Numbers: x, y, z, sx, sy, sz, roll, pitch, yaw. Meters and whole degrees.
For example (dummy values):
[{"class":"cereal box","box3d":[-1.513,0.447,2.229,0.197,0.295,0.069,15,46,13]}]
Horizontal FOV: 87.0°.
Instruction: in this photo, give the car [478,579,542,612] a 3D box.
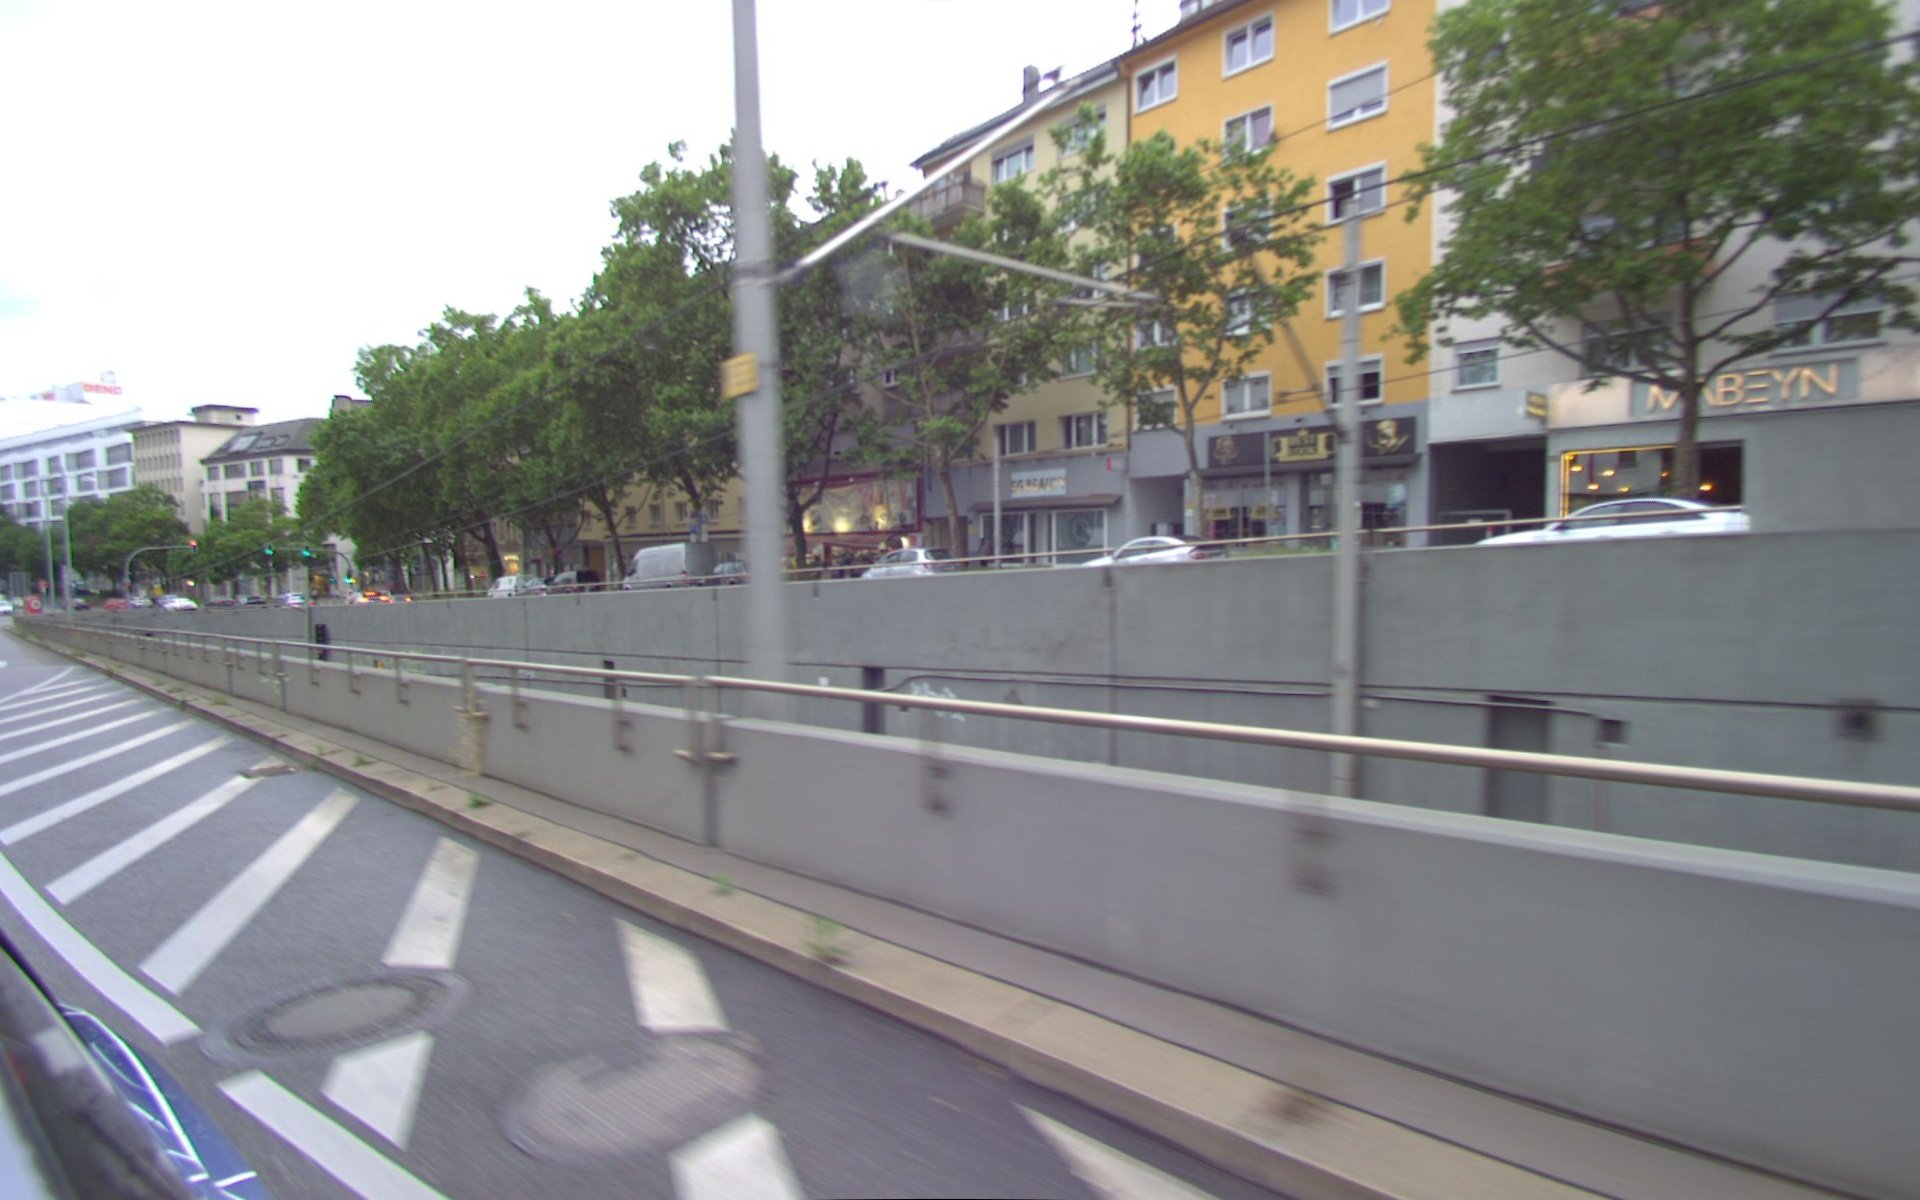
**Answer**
[{"class":"car","box3d":[-28.434,-0.267,63.871,4.901,1.777,1.857,-2,3,43]}]

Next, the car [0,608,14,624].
[{"class":"car","box3d":[-108.335,1.824,113.848,3.988,1.756,1.781,-1,4,33]}]

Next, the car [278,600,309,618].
[{"class":"car","box3d":[-62.851,0.850,95.412,1.773,1.591,4.021,-6,3,-43]}]

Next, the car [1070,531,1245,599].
[{"class":"car","box3d":[5.105,-0.887,26.523,1.773,1.521,4.212,-6,3,-42]}]

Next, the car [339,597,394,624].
[{"class":"car","box3d":[-37.793,0.672,64.389,2.003,1.521,4.888,-6,3,-42]}]

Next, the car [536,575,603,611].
[{"class":"car","box3d":[-21.765,-0.384,56.322,4.208,1.741,1.774,-2,3,45]}]

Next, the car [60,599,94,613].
[{"class":"car","box3d":[-106.767,0.750,122.382,4.821,1.569,1.781,-1,3,33]}]

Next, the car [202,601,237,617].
[{"class":"car","box3d":[-78.742,0.966,107.656,3.992,1.521,1.779,-1,4,36]}]

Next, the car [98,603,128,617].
[{"class":"car","box3d":[-95.555,1.116,114.132,3.871,1.411,1.572,-1,3,34]}]

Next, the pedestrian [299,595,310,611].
[{"class":"pedestrian","box3d":[-77.335,0.359,119.329,0.615,1.797,0.825,0,4,37]}]

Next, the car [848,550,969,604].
[{"class":"car","box3d":[-1.811,-0.760,34.523,1.773,1.582,4.212,-6,3,-42]}]

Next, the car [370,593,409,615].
[{"class":"car","box3d":[-44.758,0.311,79.382,1.824,1.521,4.023,-6,3,-41]}]

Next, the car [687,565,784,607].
[{"class":"car","box3d":[-9.542,-0.576,42.769,1.773,1.521,4.676,-6,3,-43]}]

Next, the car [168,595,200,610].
[{"class":"car","box3d":[-93.492,0.316,121.927,3.933,1.521,1.780,-1,4,35]}]

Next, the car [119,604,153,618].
[{"class":"car","box3d":[-97.172,1.272,119.284,3.985,1.521,1.782,-1,3,31]}]

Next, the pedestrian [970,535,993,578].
[{"class":"pedestrian","box3d":[0.885,-1.799,41.993,0.516,1.760,0.623,-8,5,-36]}]

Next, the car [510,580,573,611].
[{"class":"car","box3d":[-24.857,-0.246,60.014,1.856,1.595,4.476,-6,3,-44]}]

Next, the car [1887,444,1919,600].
[{"class":"car","box3d":[13.741,-1.049,11.184,1.933,1.866,4.974,-6,3,-42]}]

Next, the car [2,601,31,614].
[{"class":"car","box3d":[-124.789,0.943,133.844,3.986,1.572,1.781,-1,3,32]}]

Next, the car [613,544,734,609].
[{"class":"car","box3d":[-13.621,-1.054,47.761,2.424,2.681,6.938,-6,3,-43]}]

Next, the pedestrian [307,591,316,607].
[{"class":"pedestrian","box3d":[-75.327,-0.159,117.591,0.525,1.797,0.597,0,4,38]}]

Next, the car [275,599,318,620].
[{"class":"car","box3d":[-54.066,0.802,82.424,4.823,1.521,1.826,-2,3,45]}]

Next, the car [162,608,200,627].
[{"class":"car","box3d":[-80.107,1.767,104.062,4.723,1.783,1.778,-1,3,37]}]

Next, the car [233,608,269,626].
[{"class":"car","box3d":[-64.442,1.531,91.992,4.344,1.521,1.775,0,3,43]}]

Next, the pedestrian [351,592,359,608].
[{"class":"pedestrian","box3d":[-68.837,-0.022,115.100,0.581,1.822,0.675,-5,4,-38]}]

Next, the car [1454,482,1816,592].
[{"class":"car","box3d":[12.160,-1.085,18.561,1.905,1.613,5.204,-6,3,-43]}]
